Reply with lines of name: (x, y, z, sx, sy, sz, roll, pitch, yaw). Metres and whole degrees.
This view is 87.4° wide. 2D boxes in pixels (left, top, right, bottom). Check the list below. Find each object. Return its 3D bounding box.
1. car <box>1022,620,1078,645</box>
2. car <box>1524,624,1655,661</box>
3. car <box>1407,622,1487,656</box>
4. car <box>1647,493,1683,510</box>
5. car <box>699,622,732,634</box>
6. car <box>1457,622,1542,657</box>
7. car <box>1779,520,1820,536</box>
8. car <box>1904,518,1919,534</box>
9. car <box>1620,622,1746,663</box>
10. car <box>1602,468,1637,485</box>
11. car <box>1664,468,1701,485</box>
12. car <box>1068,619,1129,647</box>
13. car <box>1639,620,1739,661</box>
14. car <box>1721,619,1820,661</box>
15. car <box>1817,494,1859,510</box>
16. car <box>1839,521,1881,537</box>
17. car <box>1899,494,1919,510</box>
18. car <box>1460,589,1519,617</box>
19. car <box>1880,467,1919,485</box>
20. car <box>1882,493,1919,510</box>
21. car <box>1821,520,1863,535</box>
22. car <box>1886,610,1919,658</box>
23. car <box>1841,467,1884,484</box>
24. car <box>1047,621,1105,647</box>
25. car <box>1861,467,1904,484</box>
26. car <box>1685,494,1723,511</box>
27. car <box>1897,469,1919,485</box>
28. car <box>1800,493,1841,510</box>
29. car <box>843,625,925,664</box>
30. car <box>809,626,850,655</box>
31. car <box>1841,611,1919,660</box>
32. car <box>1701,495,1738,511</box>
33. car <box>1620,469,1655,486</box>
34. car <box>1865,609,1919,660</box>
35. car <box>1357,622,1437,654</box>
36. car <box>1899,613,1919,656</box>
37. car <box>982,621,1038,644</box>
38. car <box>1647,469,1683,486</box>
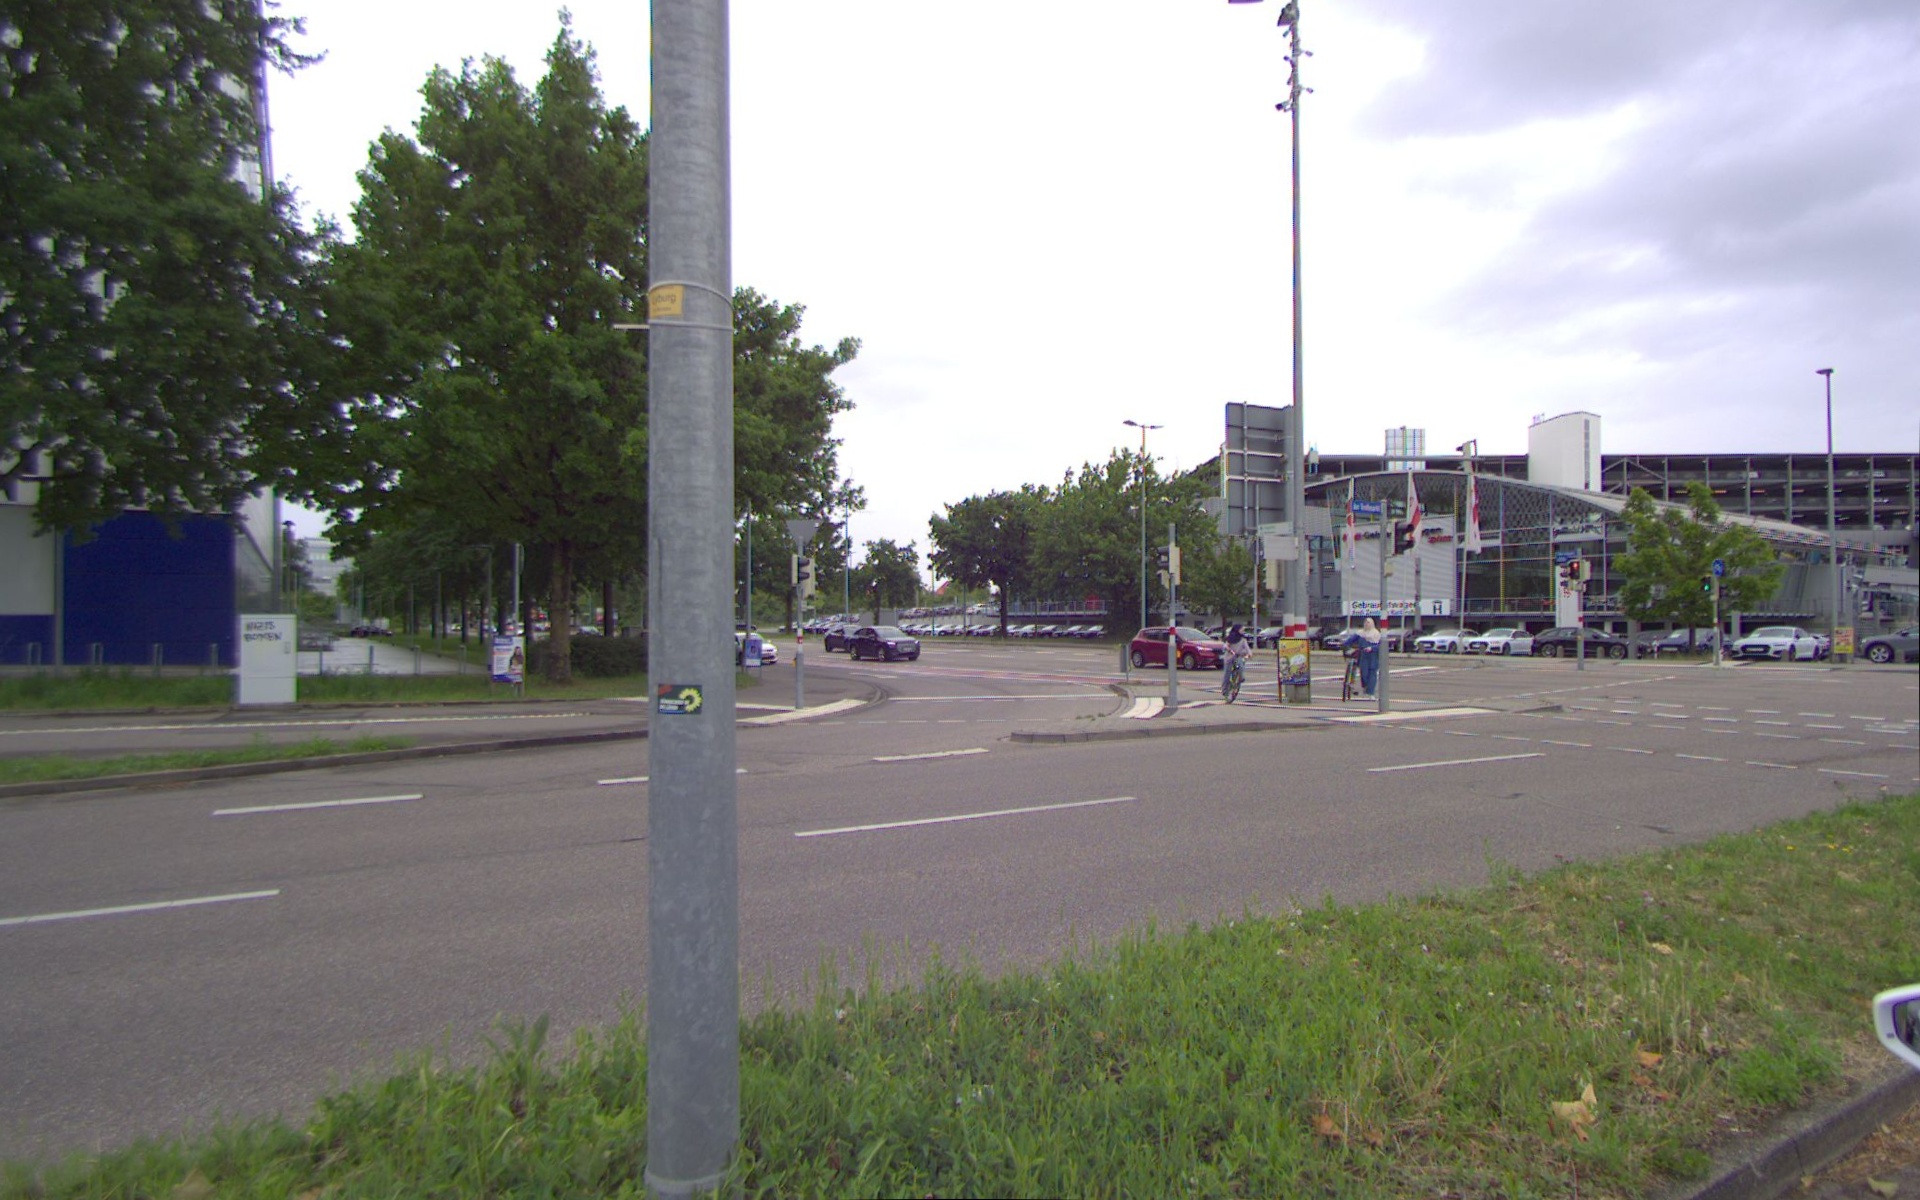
car: (7.059, 2.562, 78.627, 4.037, 1.505, 1.801, 7, -3, -34)
car: (28.386, 1.891, 45.456, 1.873, 1.505, 4.713, 4, -4, -32)
car: (24.498, 1.958, 50.505, 4.002, 1.505, 1.860, 4, -3, -33)
car: (91.570, -12.780, 130.567, 1.960, 1.689, 4.001, 1, 0, 2)
car: (-32.378, 3.646, 132.795, 3.949, 1.455, 1.718, 2, 0, -27)
car: (26.025, 1.898, 48.444, 4.154, 1.505, 1.836, 4, -3, -33)
car: (108.829, -9.303, 130.262, 1.960, 1.689, 4.001, 1, 0, 2)
car: (126.964, -9.767, 131.294, 2.167, 1.971, 5.331, 1, 0, -1)
car: (36.275, 2.080, 50.522, 1.978, 1.965, 4.776, 1, -2, -32)
car: (86.127, -16.097, 131.207, 1.960, 1.689, 4.001, 1, 0, 2)
car: (94.066, -16.074, 130.791, 1.960, 1.689, 4.001, 1, 0, 2)
car: (10.212, 2.443, 74.158, 4.210, 1.622, 1.858, 8, -4, -34)
car: (30.501, 1.741, 42.010, 4.473, 1.505, 2.050, 4, -5, -35)
car: (32.016, 1.597, 39.655, 4.184, 1.505, 1.858, 3, -3, -33)
car: (113.579, -12.697, 130.013, 1.960, 1.689, 4.001, 1, 0, 2)
car: (116.784, -9.221, 130.327, 1.960, 1.689, 4.001, 1, 0, 2)
car: (124.150, -12.710, 129.849, 1.960, 1.689, 4.001, 1, 0, 2)
car: (34.848, 0.201, 66.028, 3.960, 1.684, 1.807, 2, 0, -35)
car: (122.111, -16.067, 130.302, 1.960, 1.689, 4.001, 1, 0, 2)
car: (121.929, -12.693, 129.863, 1.960, 1.689, 4.001, 1, 0, 2)
car: (114.174, -9.377, 130.087, 1.960, 1.689, 4.001, 1, 0, 2)
car: (42.273, 1.399, 41.873, 2.243, 2.040, 4.993, 2, -4, -34)
car: (116.732, -16.104, 129.981, 1.960, 1.689, 4.001, 1, 0, 2)
car: (8.843, 2.569, 76.439, 4.181, 1.504, 1.808, 8, -4, -34)
car: (119.352, -16.109, 129.938, 1.960, 1.689, 4.001, 1, 0, 2)
car: (96.457, -12.634, 130.264, 1.960, 1.689, 4.001, 1, 0, 2)
car: (124.355, -16.015, 130.279, 1.960, 1.689, 4.001, 1, 0, 2)
car: (111.433, -12.735, 130.116, 1.960, 1.689, 4.001, 1, 0, 2)
car: (-3.617, 2.071, 47.303, 1.867, 1.659, 4.292, -3, 0, -35)
car: (-7.683, 2.338, 58.930, 1.854, 1.565, 4.586, -2, -1, -14)
car: (37.588, 1.384, 38.958, 1.979, 1.887, 4.744, 2, -4, -34)
car: (98.505, -12.574, 130.310, 1.960, 1.689, 4.001, 1, 0, 2)
car: (88.522, -16.023, 131.314, 1.960, 1.689, 4.001, 1, 0, 2)
car: (39.724, 1.376, 40.342, 1.979, 2.040, 4.674, 2, -4, -34)
car: (22.998, 2.015, 52.801, 4.188, 1.505, 1.855, 4, -3, -33)
car: (44.306, 1.457, 43.563, 2.034, 1.900, 4.914, 2, -4, -35)
car: (4.142, 2.711, 82.830, 4.153, 1.505, 1.959, 7, -3, -33)
car: (91.698, -15.930, 130.620, 1.960, 1.689, 4.001, 1, 0, 2)
